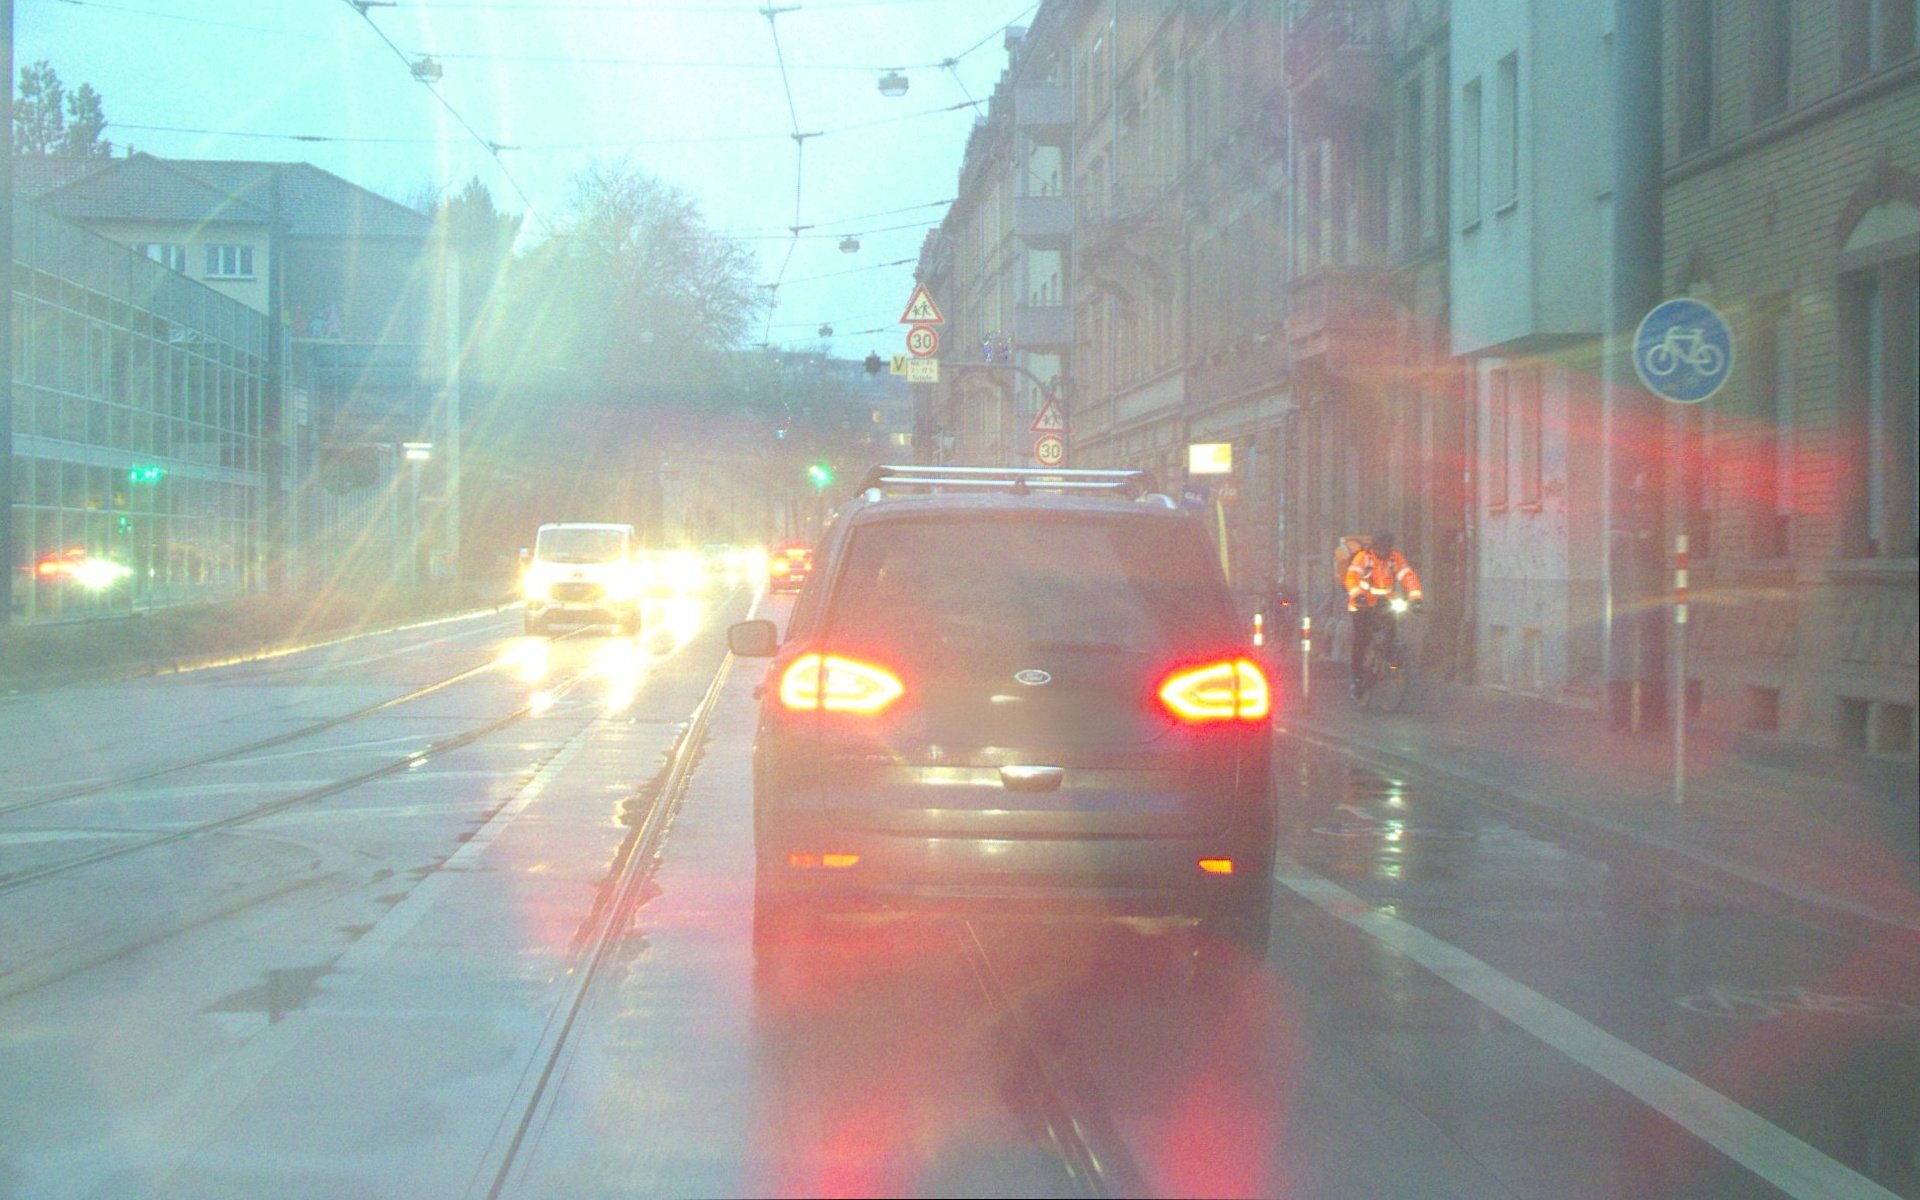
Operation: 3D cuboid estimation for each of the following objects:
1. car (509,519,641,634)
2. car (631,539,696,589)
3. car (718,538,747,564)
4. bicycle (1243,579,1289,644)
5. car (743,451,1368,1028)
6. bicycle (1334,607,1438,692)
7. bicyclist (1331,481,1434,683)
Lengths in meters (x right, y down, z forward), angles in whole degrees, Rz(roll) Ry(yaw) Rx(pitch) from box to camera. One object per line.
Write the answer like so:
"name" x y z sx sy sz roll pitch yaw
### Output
"car" -7.004 -0.431 62.905 1.993 2.007 4.685 1 0 -2
"car" -9.608 -1.174 111.710 1.841 1.573 4.442 0 1 -1
"car" -15.080 -3.246 228.385 1.875 1.704 4.761 -1 1 -4
"bicycle" 4.403 0.158 49.542 0.397 0.908 1.867 0 1 -3
"car" 0.300 0.423 13.027 1.993 1.835 4.000 0 1 0
"bicycle" 4.025 0.462 32.574 0.608 0.758 1.861 0 1 -5
"bicyclist" 3.988 -0.172 32.534 0.745 1.873 1.112 0 0 -5
